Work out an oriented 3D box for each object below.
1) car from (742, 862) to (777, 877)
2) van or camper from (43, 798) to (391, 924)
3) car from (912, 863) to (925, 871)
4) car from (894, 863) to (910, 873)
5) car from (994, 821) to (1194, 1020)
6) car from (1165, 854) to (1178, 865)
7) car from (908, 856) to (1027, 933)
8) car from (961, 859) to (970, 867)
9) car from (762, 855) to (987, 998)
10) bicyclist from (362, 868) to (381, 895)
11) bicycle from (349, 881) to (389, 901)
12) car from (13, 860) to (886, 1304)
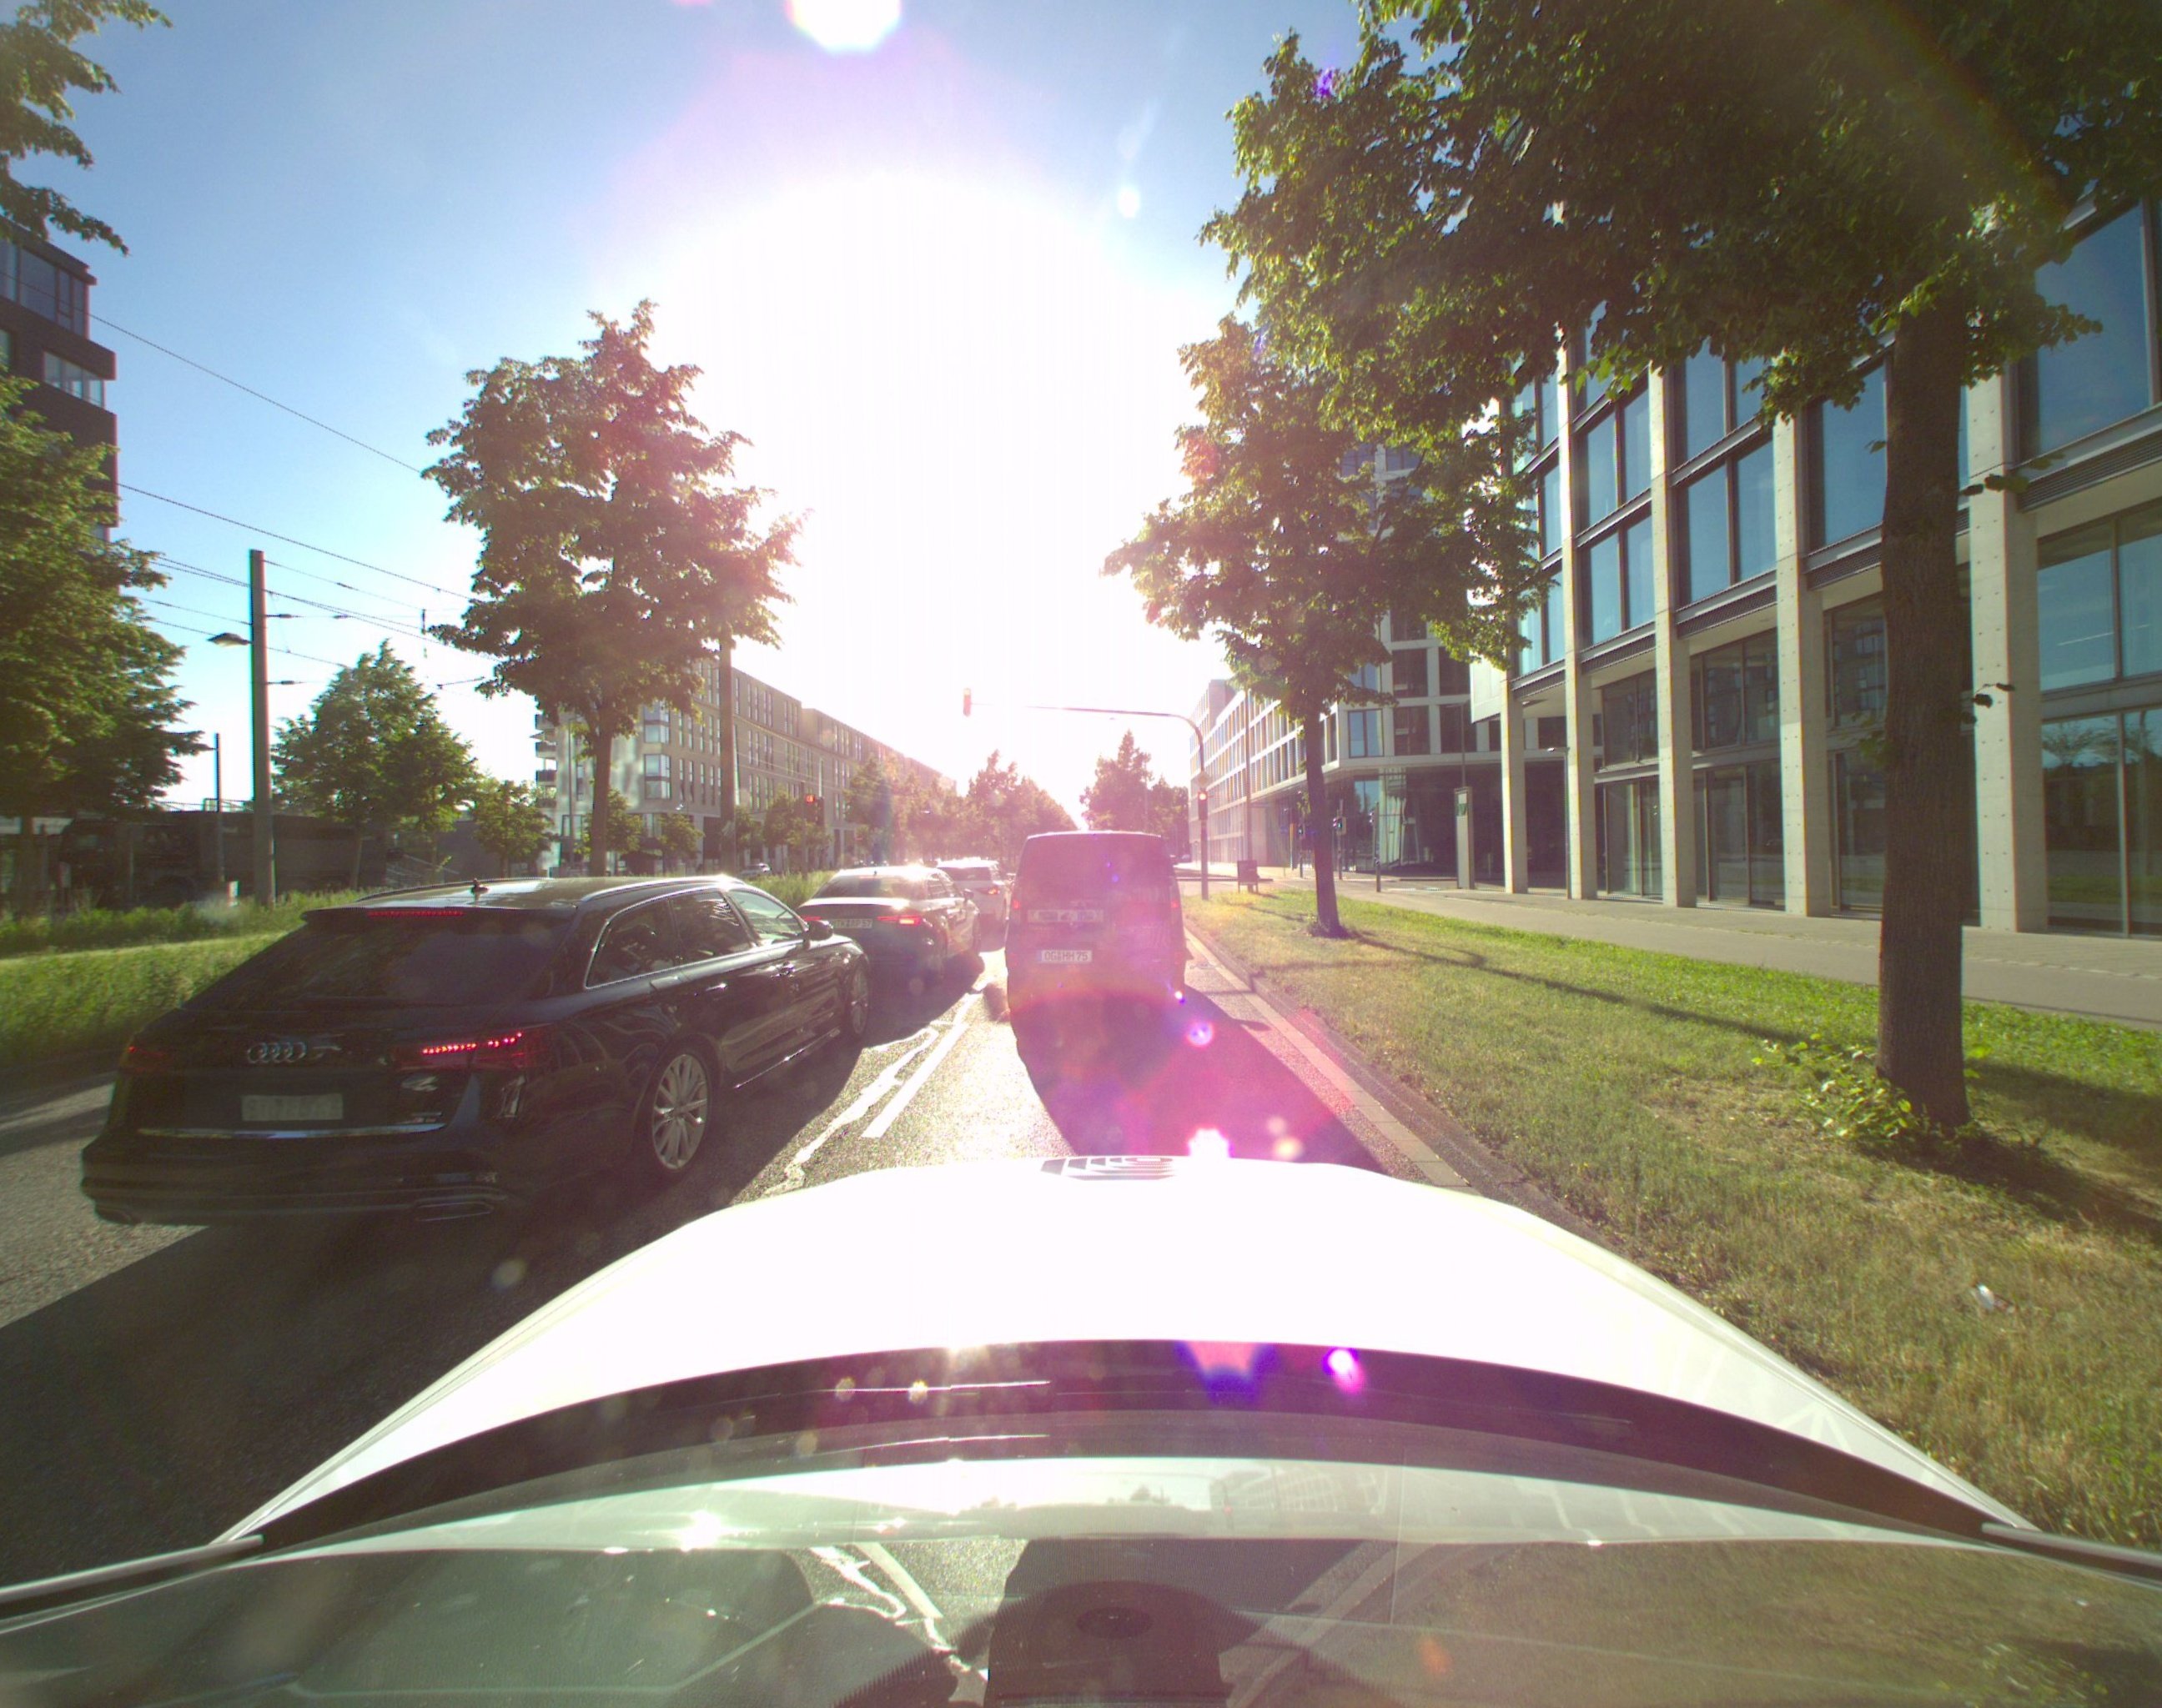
[{"bbox_3d":[-31.634,1.529,80.346,1.574,1.342,4.473,-1,0,1],"label":"car"},{"bbox_3d":[-33.471,0.261,32.578,2.743,4.192,10.234,-1,0,2],"label":"van or camper"},{"bbox_3d":[-29.874,2.409,150.179,1.574,1.342,3.713,-1,0,1],"label":"car"},{"bbox_3d":[-29.733,2.368,135.478,1.769,1.528,3.807,-1,0,1],"label":"car"},{"bbox_3d":[0.211,0.607,9.532,1.801,1.794,4.115,-1,0,2],"label":"car"},{"bbox_3d":[14.205,0.813,127.737,1.750,1.611,3.906,-1,0,3],"label":"car"},{"bbox_3d":[-2.311,0.781,17.689,1.801,1.434,4.115,-1,0,2],"label":"car"},{"bbox_3d":[-28.344,2.166,199.513,1.723,2.013,3.999,-1,0,-1],"label":"car"},{"bbox_3d":[-2.503,0.798,10.981,1.801,1.527,4.115,-1,0,2],"label":"car"},{"bbox_3d":[-38.426,1.484,44.113,0.490,1.406,0.626,0,-1,1],"label":"bicyclist"},{"bbox_3d":[-38.398,1.982,43.943,0.525,1.034,1.848,0,-1,2],"label":"bicycle"},{"bbox_3d":[-2.730,0.807,5.068,1.801,1.457,4.509,-1,0,2],"label":"car"}]
